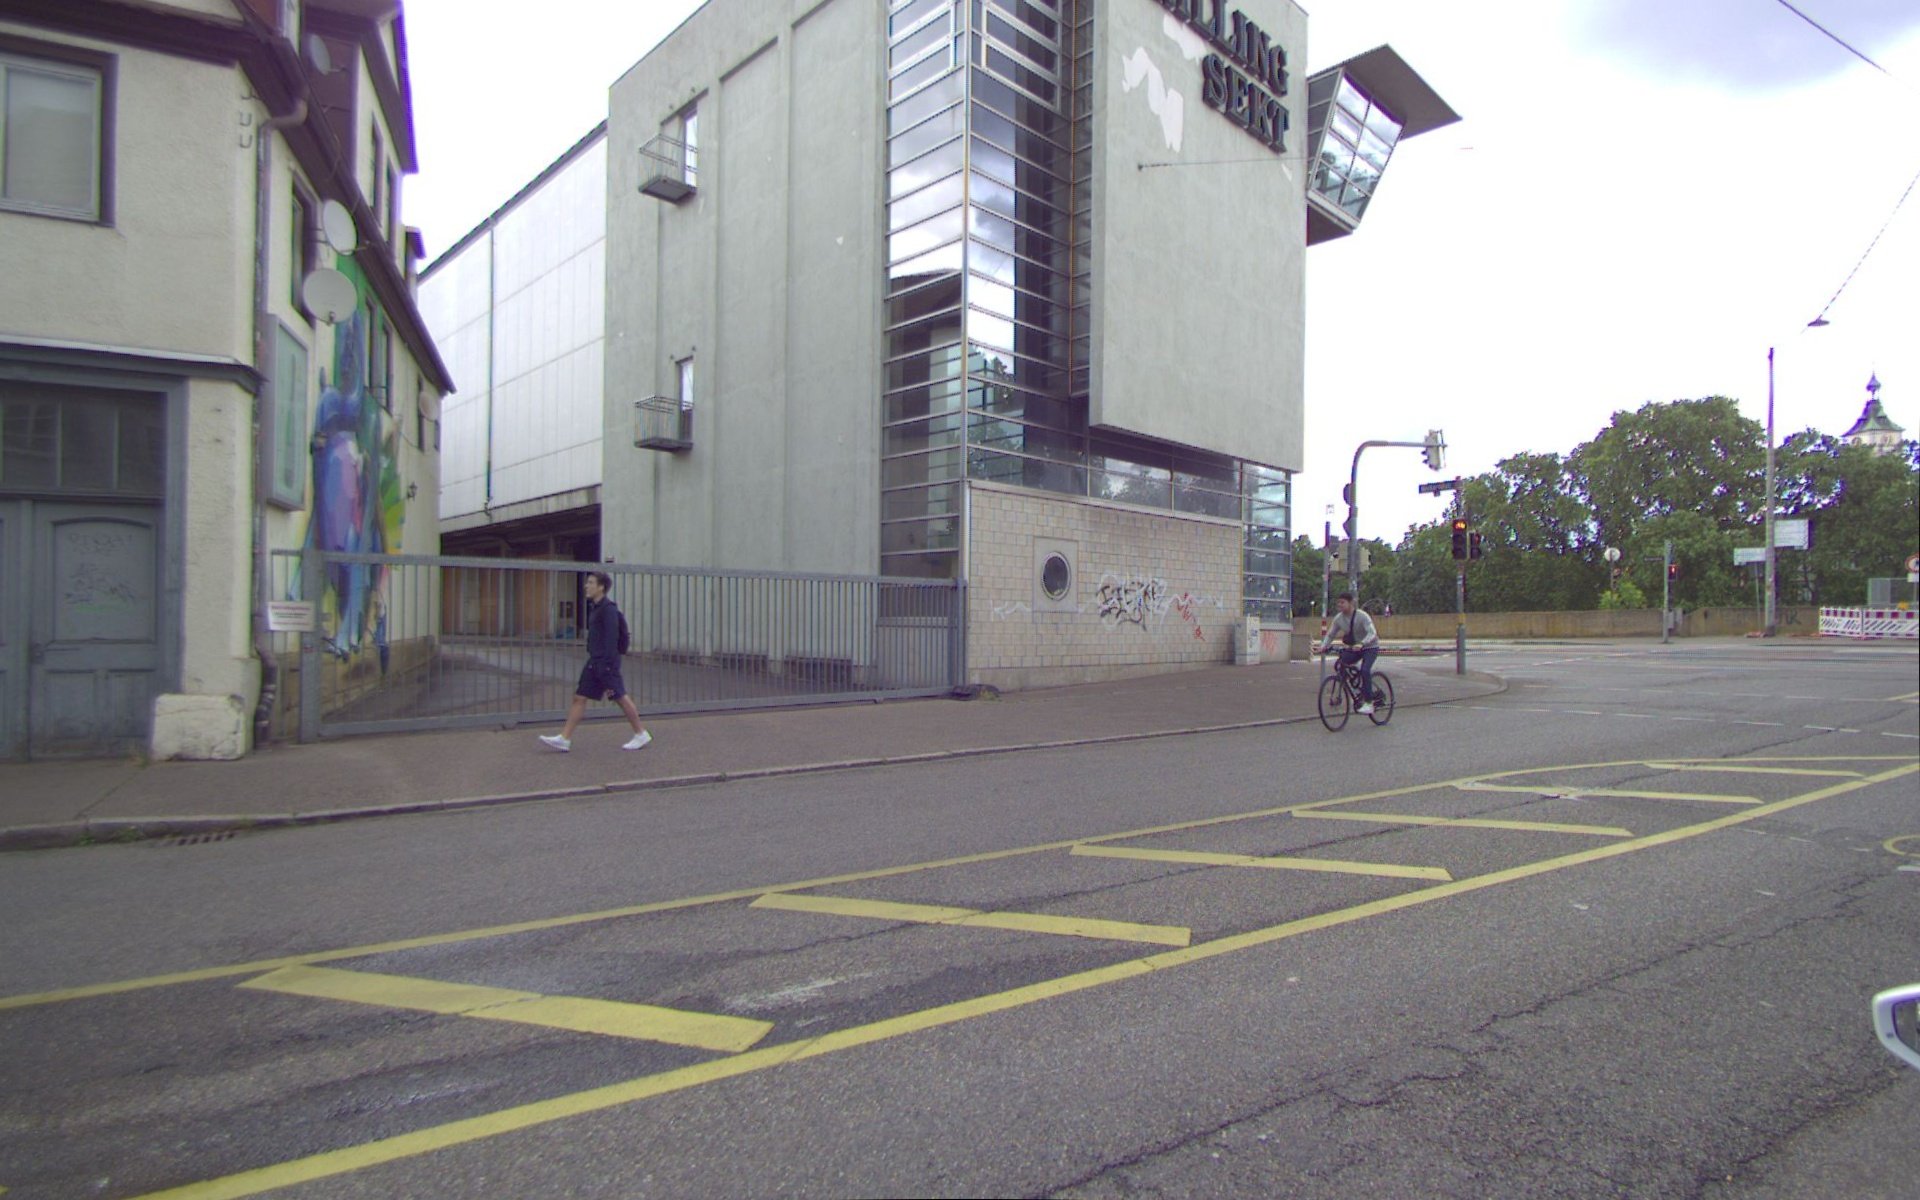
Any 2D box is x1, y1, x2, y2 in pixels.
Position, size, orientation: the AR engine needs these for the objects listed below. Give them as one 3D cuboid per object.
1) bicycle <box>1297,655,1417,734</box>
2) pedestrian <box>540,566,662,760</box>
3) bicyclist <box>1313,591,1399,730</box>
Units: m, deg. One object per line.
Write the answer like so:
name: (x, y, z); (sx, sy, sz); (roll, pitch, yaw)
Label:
bicycle: (5.155, 1.189, 12.981); (1.862, 0.904, 0.537); (1, -1, -36)
pedestrian: (-3.797, 0.609, 10.589); (1.077, 1.911, 1.050); (-1, 1, -27)
bicyclist: (5.109, 0.758, 12.976); (0.803, 1.723, 0.718); (1, -1, -35)
